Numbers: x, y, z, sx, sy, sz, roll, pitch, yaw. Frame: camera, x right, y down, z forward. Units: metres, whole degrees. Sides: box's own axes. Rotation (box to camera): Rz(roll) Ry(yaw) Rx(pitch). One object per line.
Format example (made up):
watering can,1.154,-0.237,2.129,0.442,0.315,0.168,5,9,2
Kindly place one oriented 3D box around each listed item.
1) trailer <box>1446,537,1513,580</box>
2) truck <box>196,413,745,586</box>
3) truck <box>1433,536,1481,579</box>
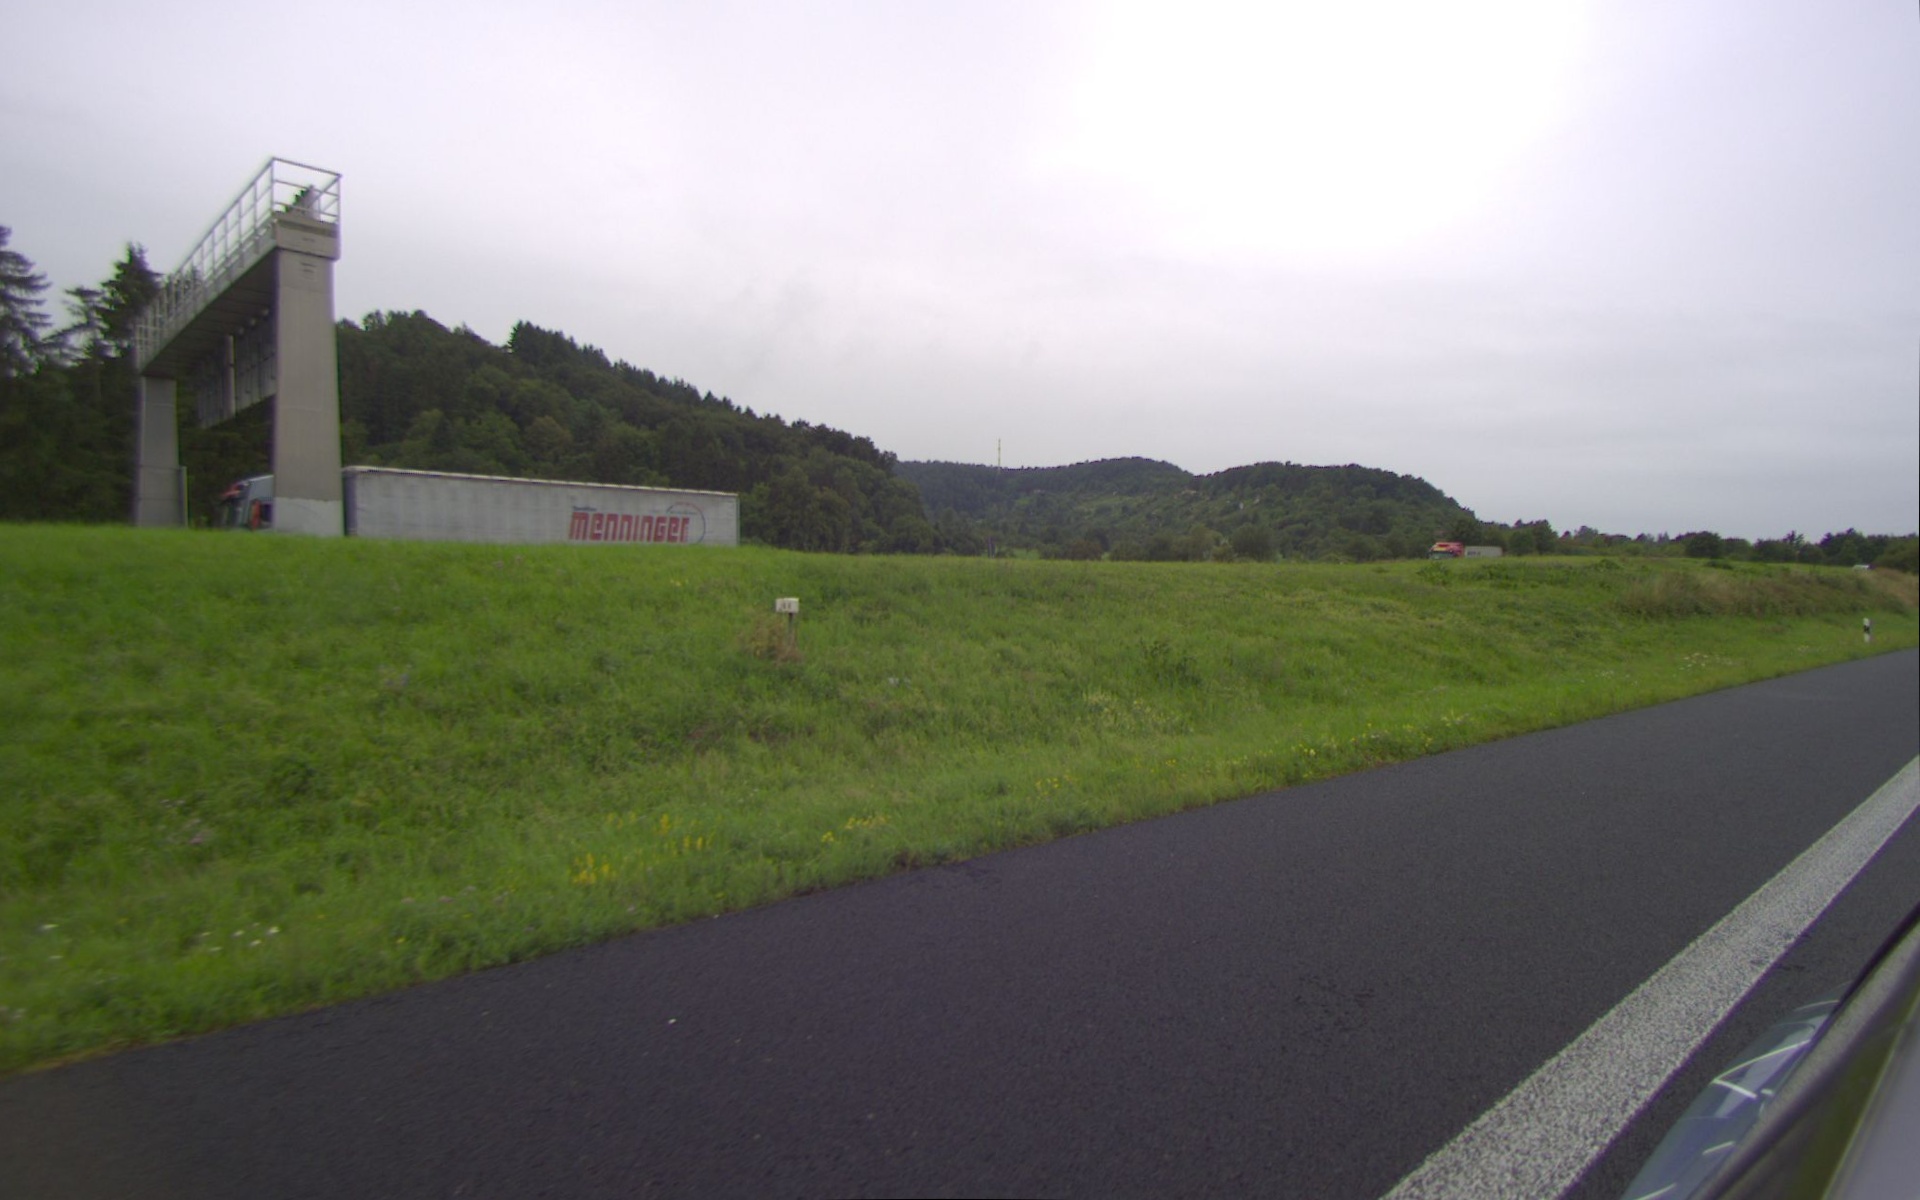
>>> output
trailer,53.885,-4.169,104.809,12.202,4.034,2.492,0,0,-45
truck,-15.363,-2.809,34.440,3.820,4.597,16.624,1,1,43
truck,49.283,-4.147,100.258,2.509,4.037,5.832,-1,0,45
